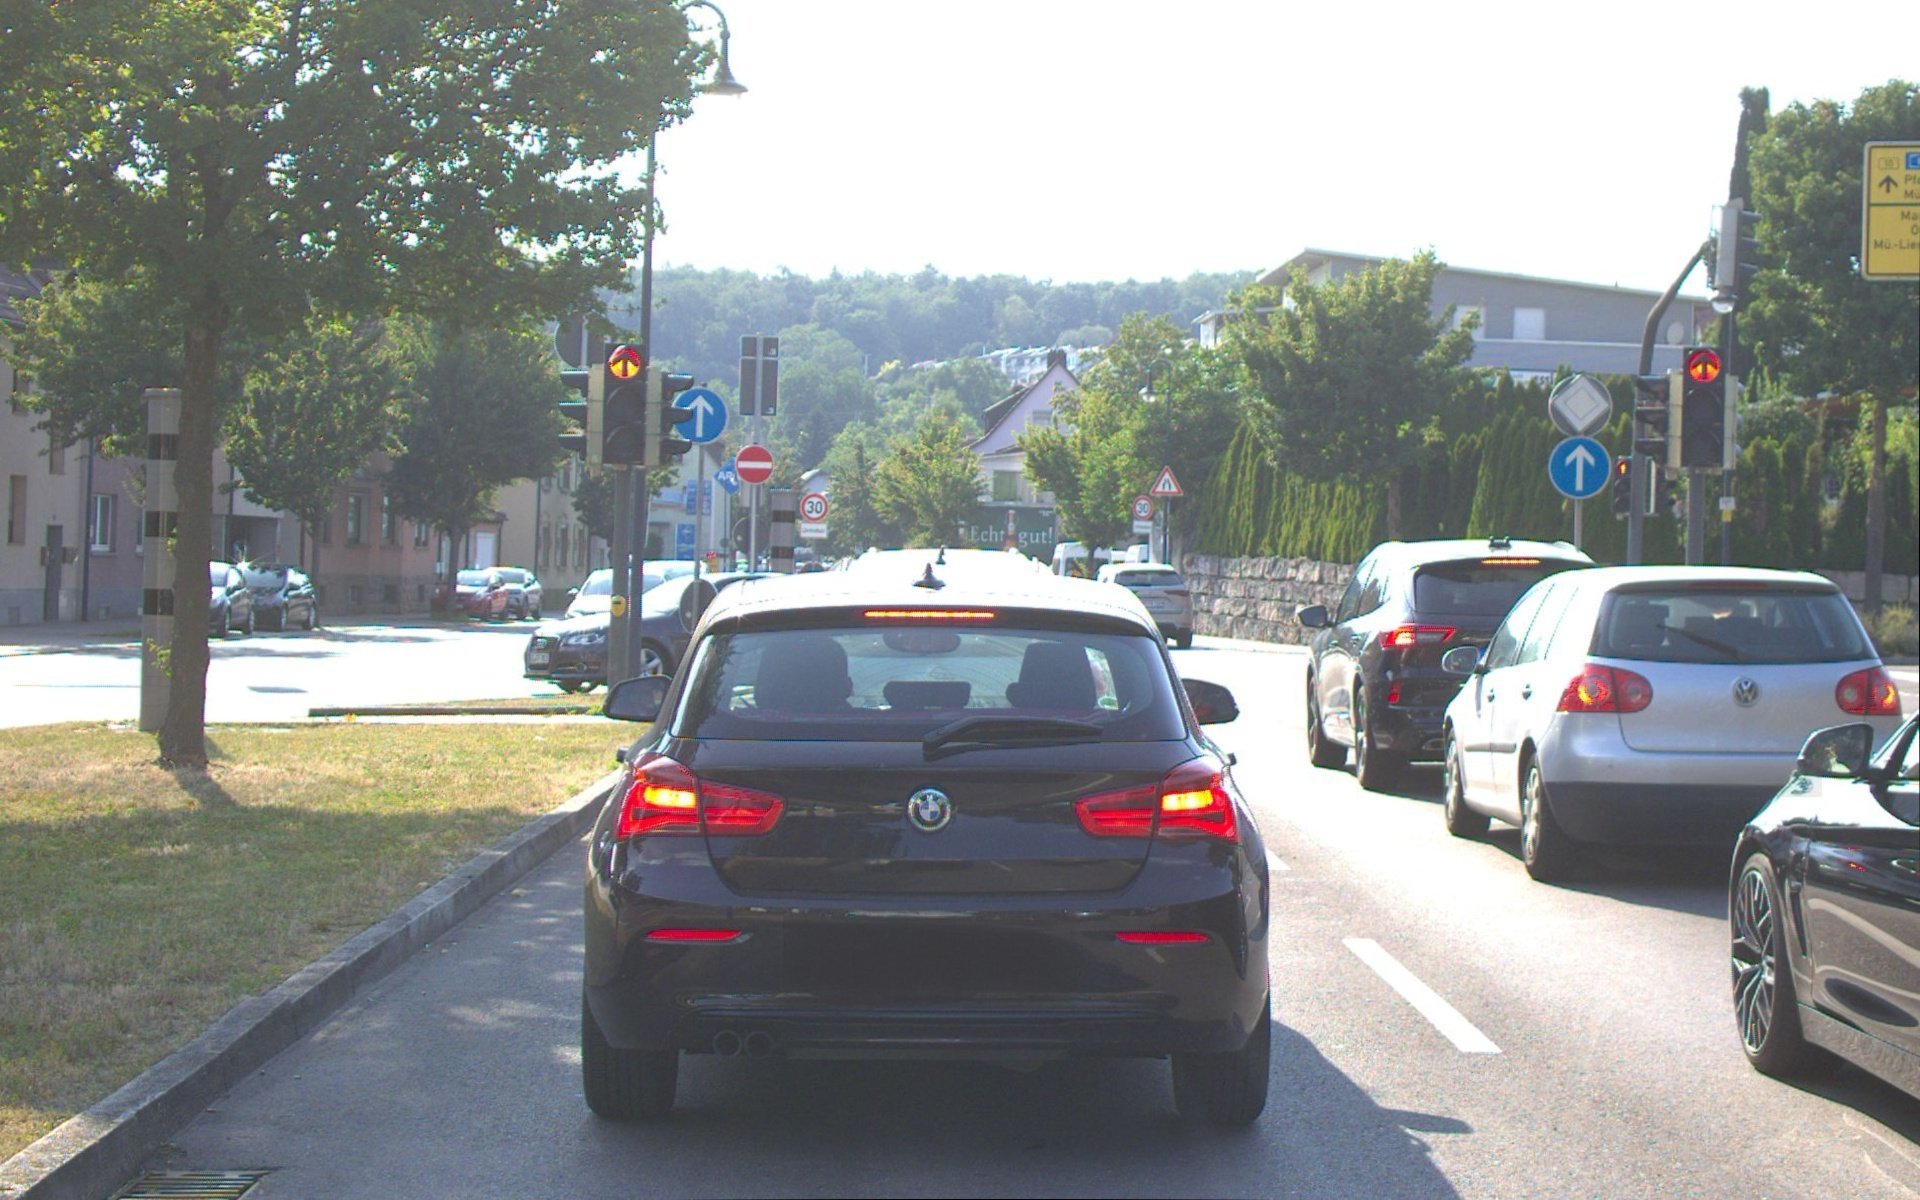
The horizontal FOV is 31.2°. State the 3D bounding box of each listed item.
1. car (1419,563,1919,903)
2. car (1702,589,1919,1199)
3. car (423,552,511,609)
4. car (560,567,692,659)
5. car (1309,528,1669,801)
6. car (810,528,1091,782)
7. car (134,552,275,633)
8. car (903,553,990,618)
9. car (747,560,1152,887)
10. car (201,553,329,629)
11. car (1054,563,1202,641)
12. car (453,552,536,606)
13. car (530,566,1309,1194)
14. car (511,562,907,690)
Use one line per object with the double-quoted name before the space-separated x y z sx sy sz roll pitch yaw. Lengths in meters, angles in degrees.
"car" 3.471 0.559 17.157 1.816 1.441 4.347 1 1 1
"car" 3.140 0.703 8.247 1.816 1.384 4.347 1 1 1
"car" -14.410 -0.591 100.626 1.924 1.590 4.000 1 1 1
"car" -5.638 0.197 58.451 1.766 1.453 4.000 1 1 1
"car" 3.488 0.364 23.406 1.816 1.660 4.347 1 1 1
"car" -0.032 0.327 24.630 1.816 1.635 4.242 1 1 1
"car" -15.454 -0.180 70.479 1.924 1.590 4.000 1 1 1
"car" -0.384 -0.415 92.499 1.890 1.696 4.525 0 1 -6
"car" -0.017 0.535 17.693 1.816 1.446 4.242 1 1 1
"car" -15.311 -0.222 75.876 1.924 1.590 4.000 1 1 1
"car" 3.369 0.019 69.855 1.861 1.480 4.661 1 1 -12
"car" -14.357 -0.673 106.132 1.924 1.590 4.000 1 1 1
"car" -0.064 0.626 10.142 1.791 1.410 4.347 1 1 1
"car" -2.862 0.298 39.273 4.175 1.382 1.651 1 1 -26
